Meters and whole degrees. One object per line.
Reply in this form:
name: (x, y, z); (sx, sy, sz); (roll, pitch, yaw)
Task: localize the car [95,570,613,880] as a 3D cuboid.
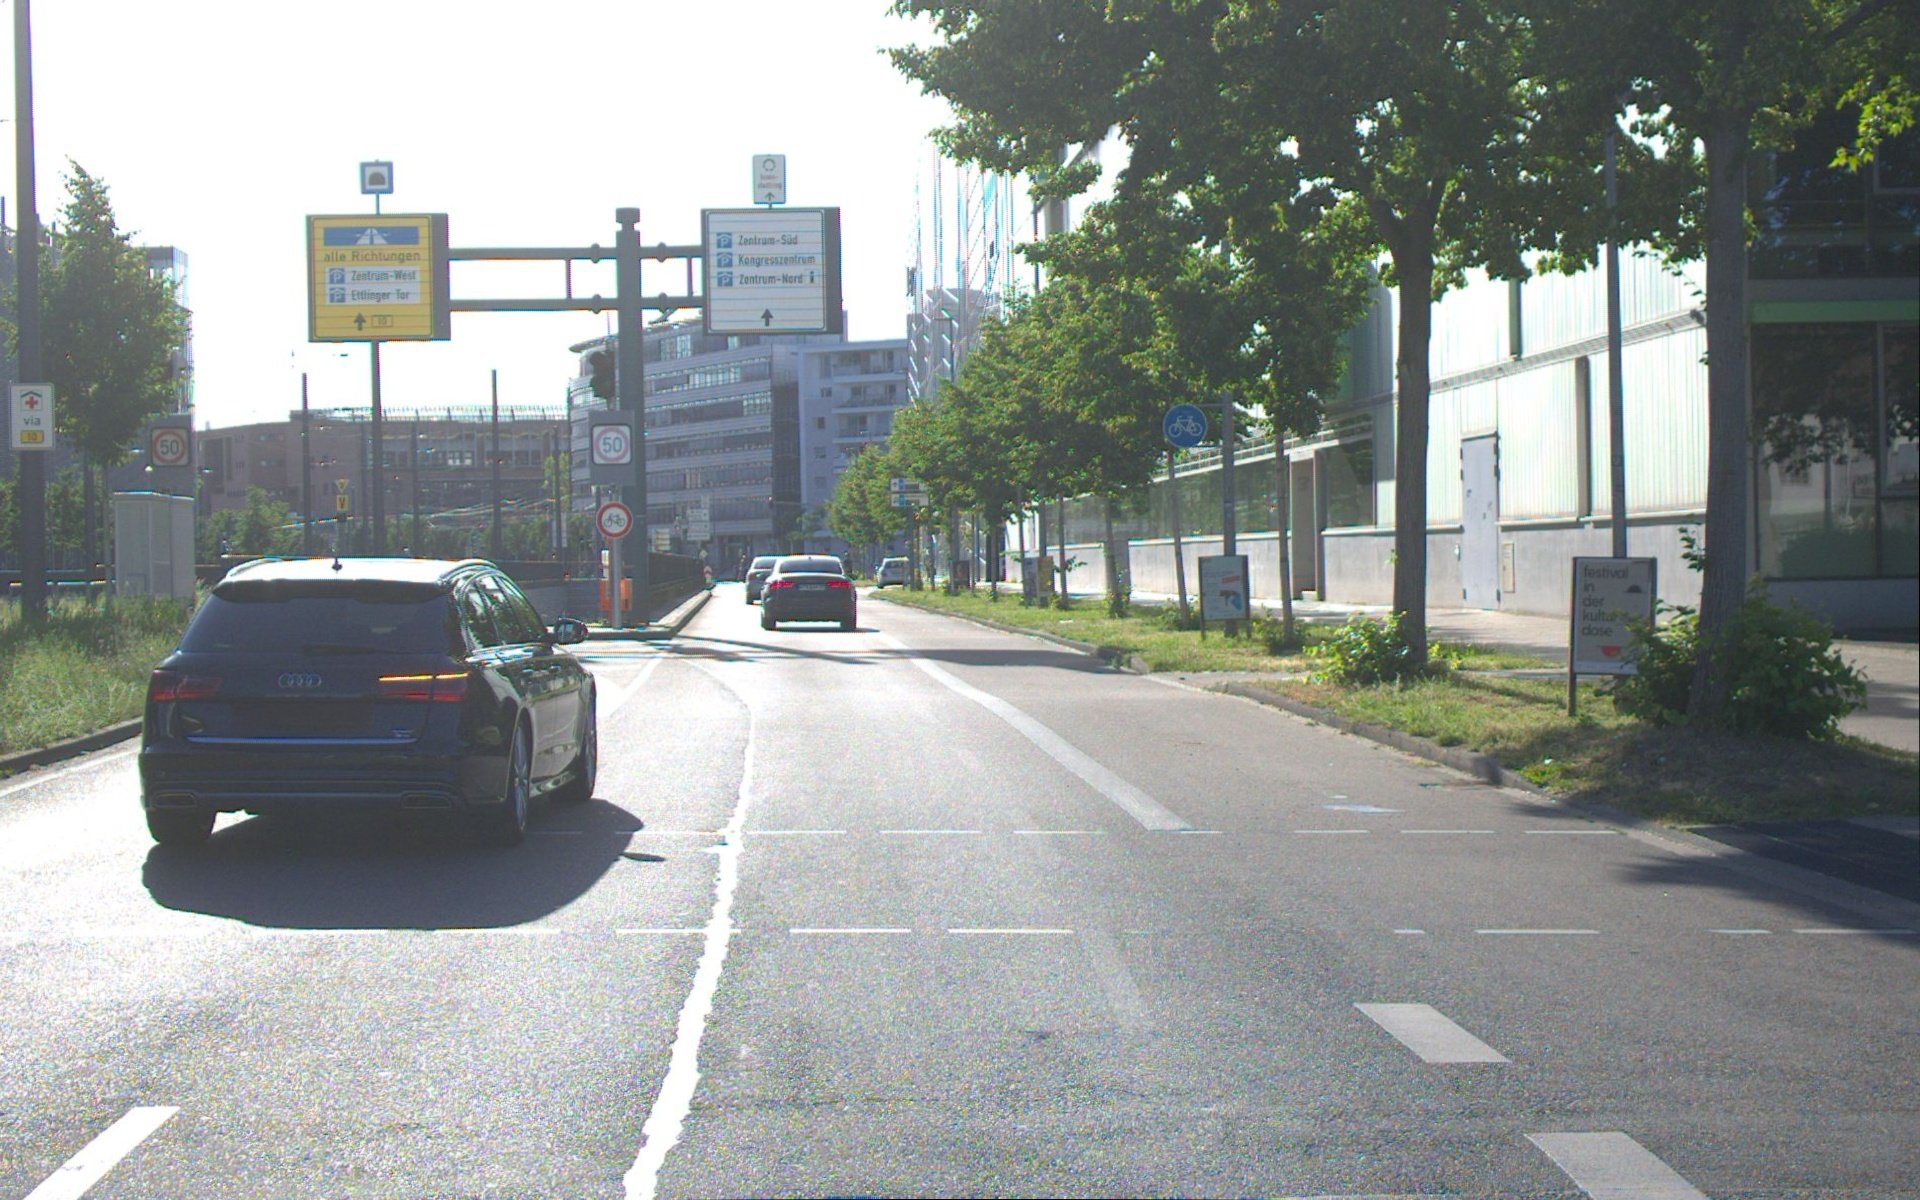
car: (-3.087, 0.571, 18.508); (1.812, 1.422, 4.689); (-1, 0, 2)

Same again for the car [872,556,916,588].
car: (-3.250, -1.379, 169.342); (1.852, 1.476, 4.855); (-3, 1, -4)

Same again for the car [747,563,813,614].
car: (-5.507, -0.371, 105.538); (1.993, 1.460, 4.001); (0, 1, -3)

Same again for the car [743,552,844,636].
car: (-3.184, -0.137, 65.634); (1.852, 1.541, 4.001); (0, 1, -3)
